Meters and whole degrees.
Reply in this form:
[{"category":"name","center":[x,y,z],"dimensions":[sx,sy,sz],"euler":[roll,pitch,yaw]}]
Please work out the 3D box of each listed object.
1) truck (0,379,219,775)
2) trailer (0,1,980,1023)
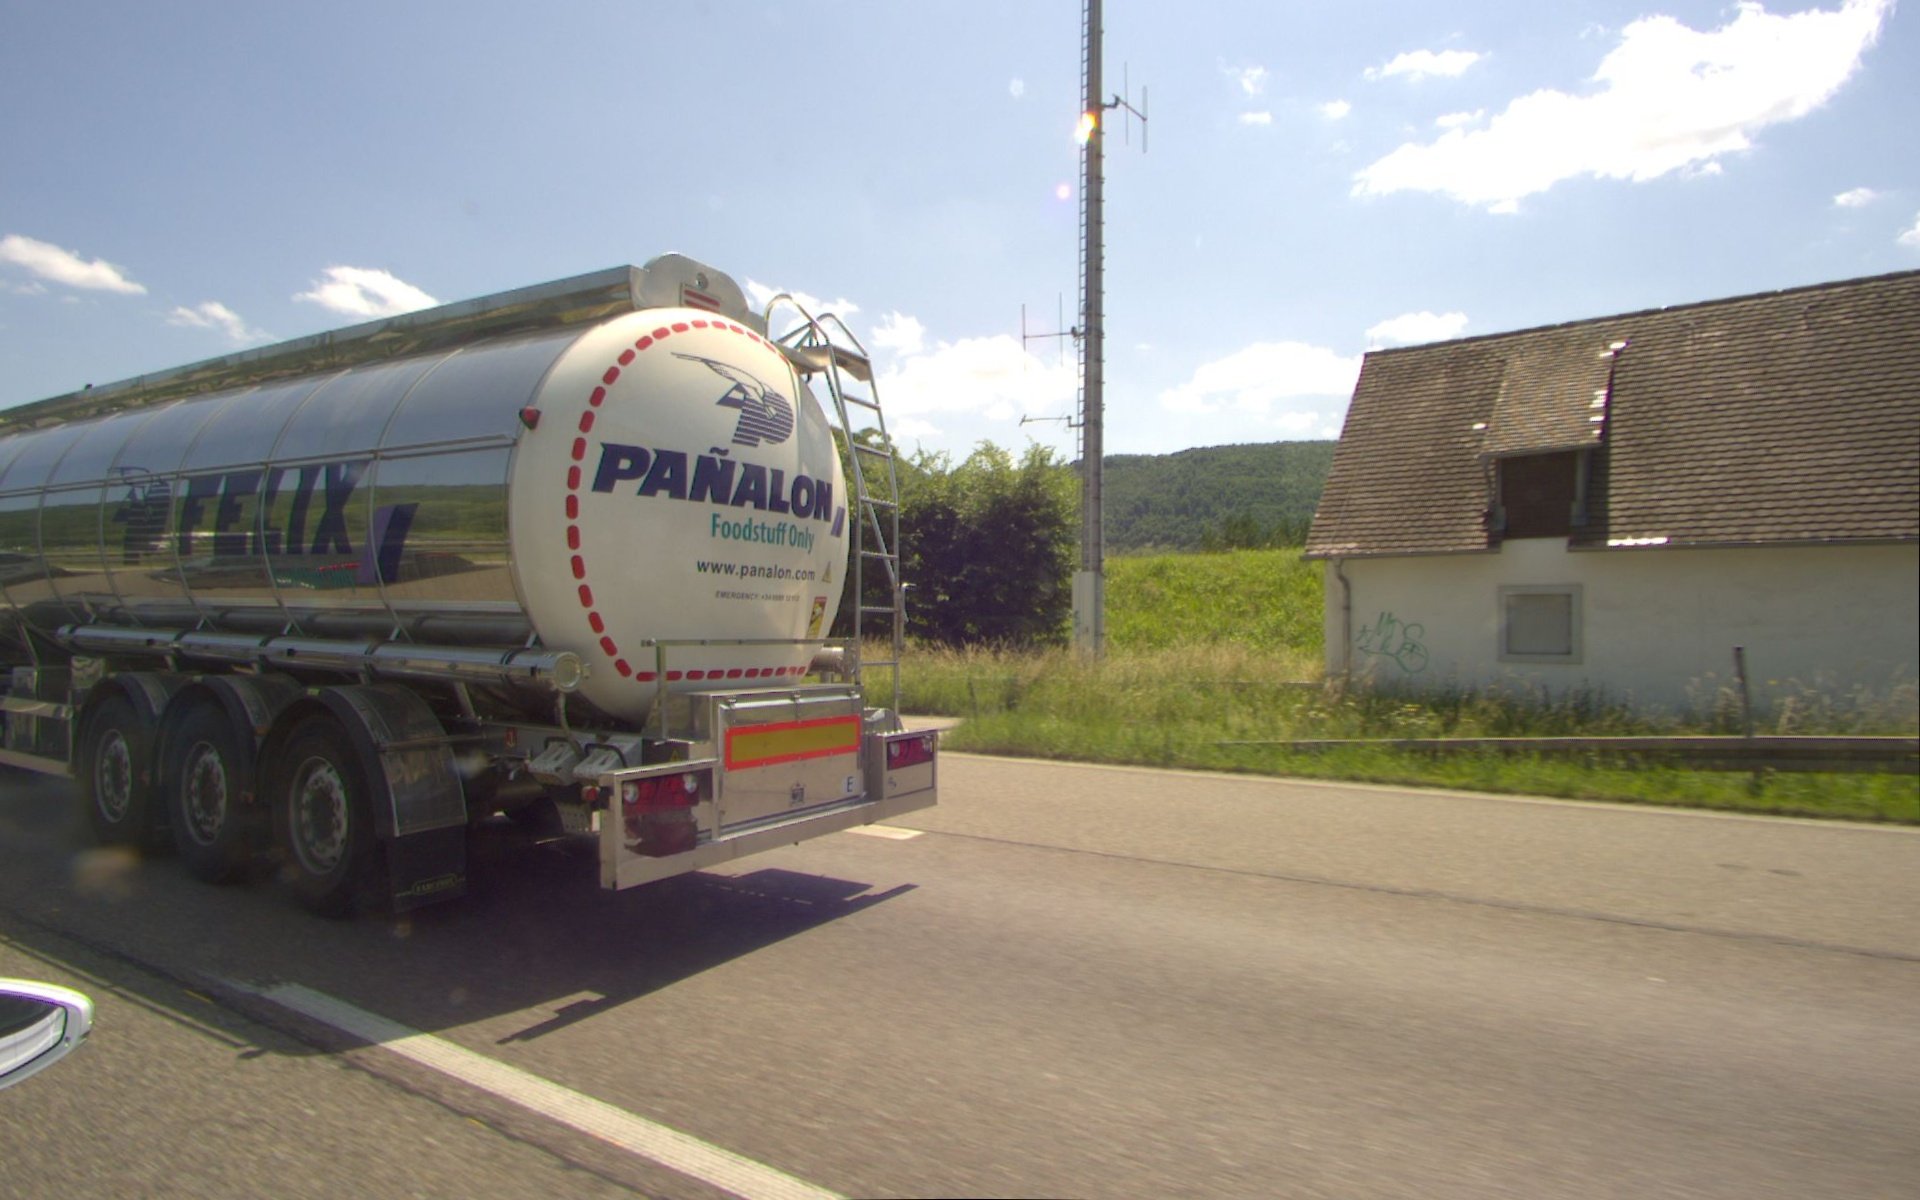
[{"category":"truck","center":[-11.122,-0.184,11.468],"dimensions":[5.170,3.807,2.507],"euler":[0,-1,32]},{"category":"trailer","center":[-5.507,-0.243,7.911],"dimensions":[11.720,3.784,2.534],"euler":[-1,-1,32]}]
